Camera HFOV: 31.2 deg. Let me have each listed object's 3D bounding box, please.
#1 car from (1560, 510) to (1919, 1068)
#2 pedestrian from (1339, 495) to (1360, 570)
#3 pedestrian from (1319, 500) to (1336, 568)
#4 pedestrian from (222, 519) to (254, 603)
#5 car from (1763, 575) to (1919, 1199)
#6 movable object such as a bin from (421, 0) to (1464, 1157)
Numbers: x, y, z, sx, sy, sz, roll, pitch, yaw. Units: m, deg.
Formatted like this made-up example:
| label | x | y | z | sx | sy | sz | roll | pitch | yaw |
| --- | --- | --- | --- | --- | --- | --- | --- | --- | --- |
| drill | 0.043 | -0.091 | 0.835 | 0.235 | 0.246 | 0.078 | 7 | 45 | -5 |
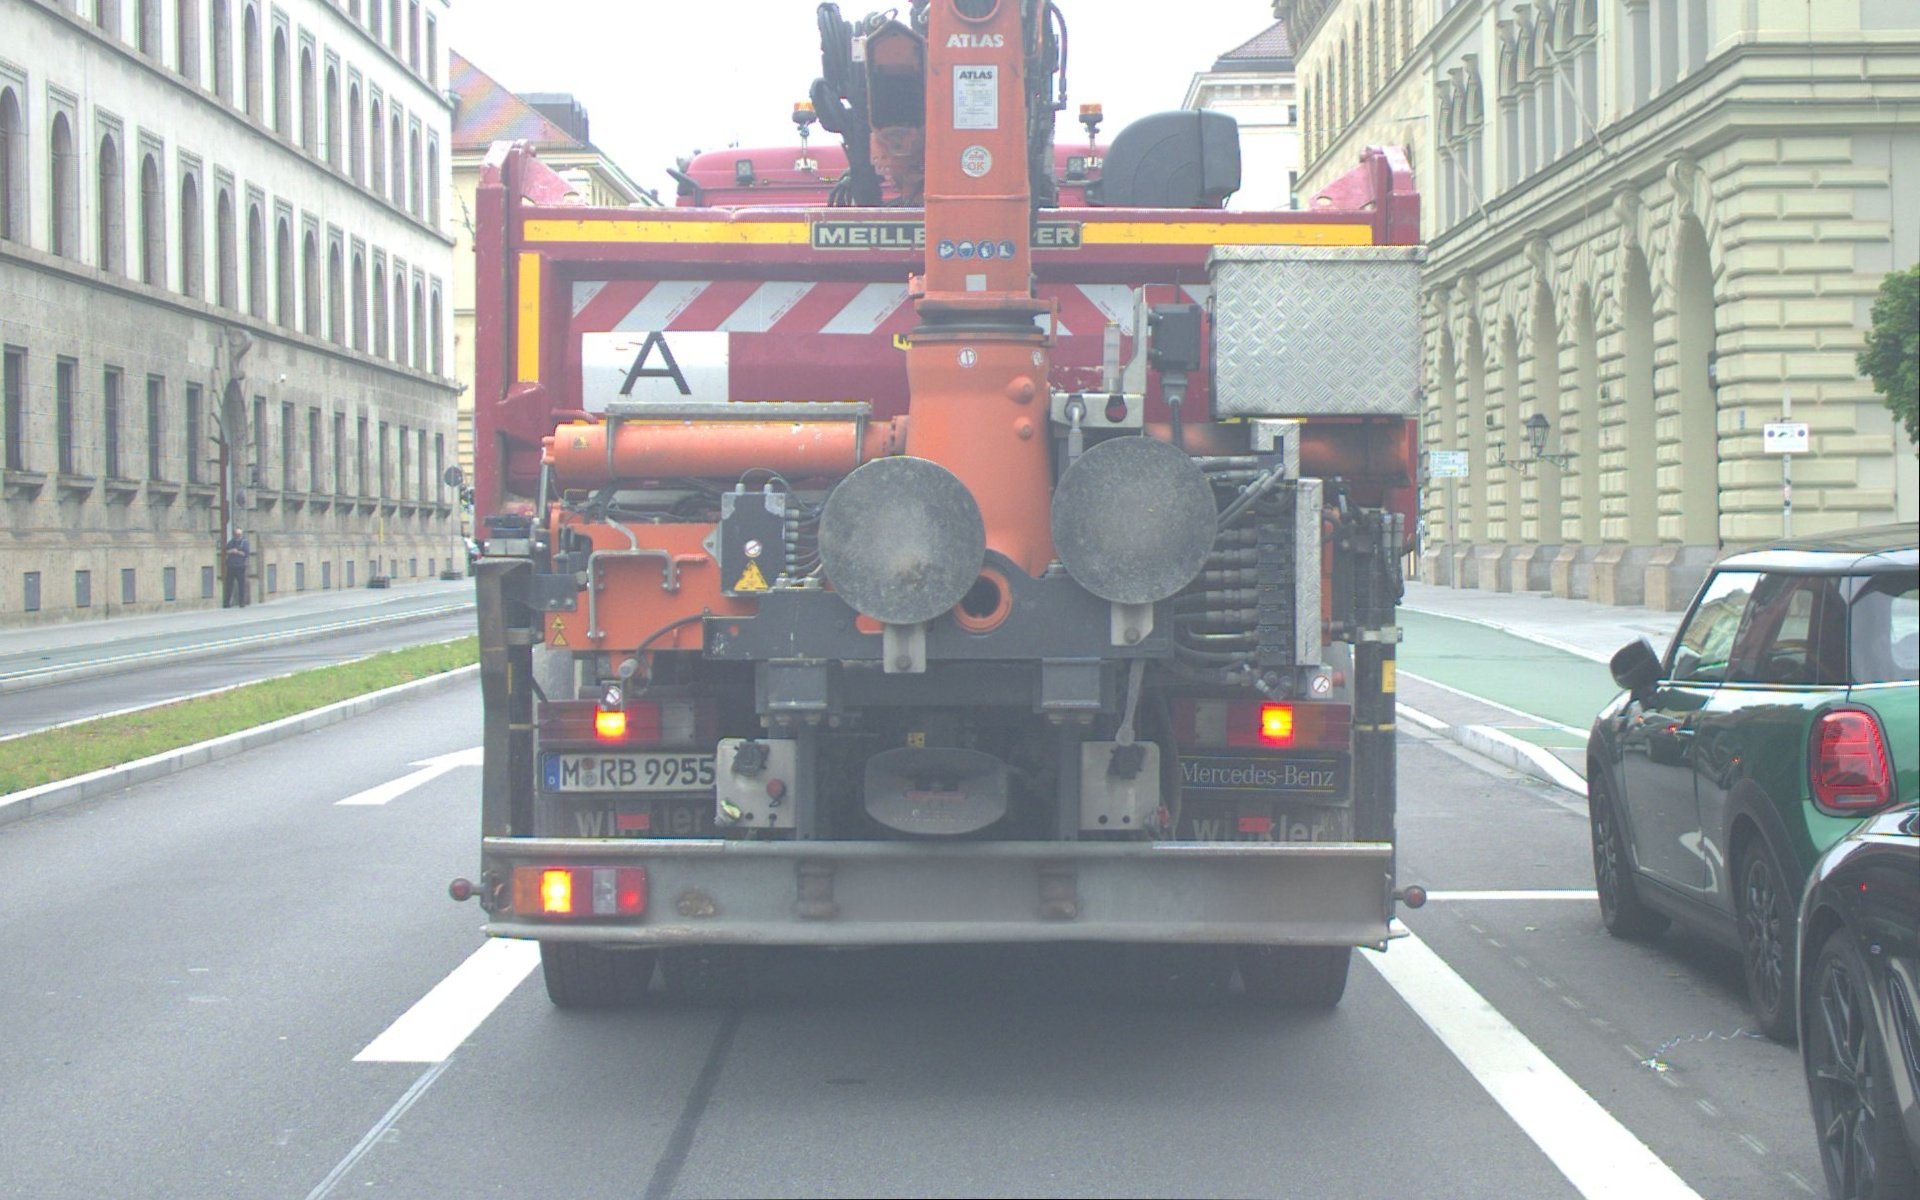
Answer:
| label | x | y | z | sx | sy | sz | roll | pitch | yaw |
| --- | --- | --- | --- | --- | --- | --- | --- | --- | --- |
| car | 3.031 | 0.464 | 10.996 | 1.610 | 1.490 | 3.425 | -1 | 1 | 0 |
| pedestrian | 9.571 | -1.649 | 84.420 | 0.445 | 1.830 | 0.556 | -1 | 1 | 2 |
| pedestrian | 9.021 | -1.618 | 84.377 | 0.337 | 1.666 | 0.440 | -1 | 1 | 2 |
| pedestrian | -15.782 | -0.857 | 75.142 | 0.588 | 1.825 | 0.499 | 0 | 2 | -1 |
| car | 2.605 | 0.681 | 5.309 | 1.680 | 1.381 | 4.427 | -1 | 1 | 0 |
| movable object such as a bin | -0.085 | -0.574 | 10.950 | 2.423 | 3.599 | 5.852 | 0 | 1 | -1 |
